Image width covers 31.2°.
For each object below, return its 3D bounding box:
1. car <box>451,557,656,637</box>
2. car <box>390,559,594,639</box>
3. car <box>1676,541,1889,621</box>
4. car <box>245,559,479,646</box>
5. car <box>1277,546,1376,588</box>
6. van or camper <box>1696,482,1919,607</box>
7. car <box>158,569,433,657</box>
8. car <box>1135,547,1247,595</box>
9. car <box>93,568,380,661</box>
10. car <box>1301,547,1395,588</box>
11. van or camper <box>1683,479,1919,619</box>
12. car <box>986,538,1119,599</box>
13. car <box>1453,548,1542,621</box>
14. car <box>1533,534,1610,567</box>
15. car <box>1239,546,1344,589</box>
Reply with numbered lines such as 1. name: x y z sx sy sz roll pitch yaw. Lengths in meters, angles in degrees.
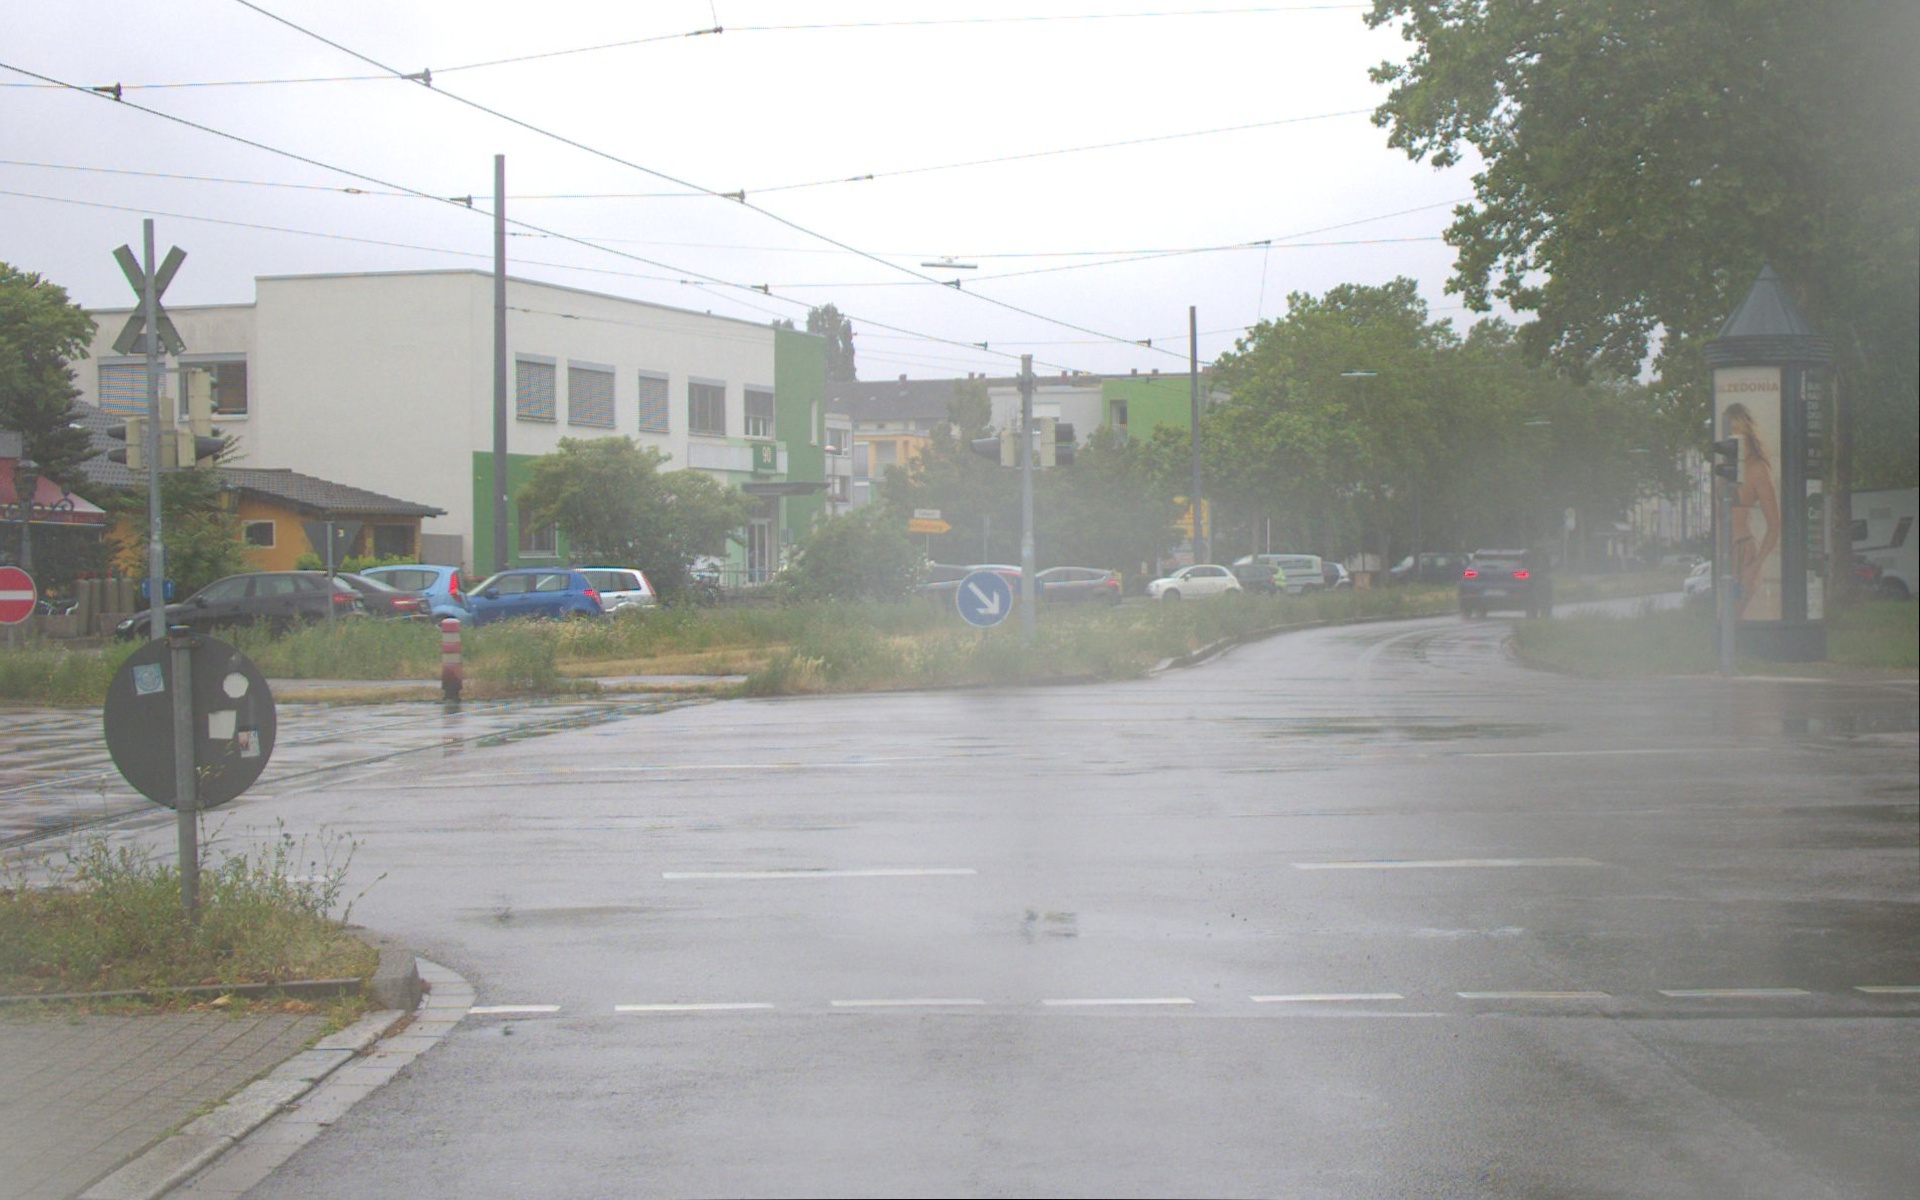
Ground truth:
1. car: -8.636 -0.083 72.924 4.107 1.635 1.930 -1 0 -14
2. car: -9.520 -0.035 69.771 3.986 1.576 1.930 -1 0 -11
3. car: 18.563 -0.438 77.573 4.449 1.711 1.998 1 1 21
4. car: -11.243 0.038 64.796 3.987 1.576 1.858 0 0 4
5. car: 16.387 -1.473 153.857 3.986 1.826 2.001 1 0 -11
6. van or camper: 23.241 -1.444 89.683 7.434 3.167 3.259 1 1 22
7. car: -11.838 0.217 61.409 4.497 1.413 1.858 -2 0 1
8. car: 8.520 -1.074 126.779 3.773 1.697 1.837 1 0 -10
9. car: -12.379 0.239 59.001 4.477 1.413 1.858 -2 0 1
10. car: 17.908 -1.503 158.927 3.986 1.826 2.000 1 0 -5
11. van or camper: 20.840 -1.175 80.515 7.328 3.167 3.259 1 1 18
12. car: 2.937 -1.006 110.008 3.986 1.881 2.000 1 0 -7
13. car: 12.977 -0.377 82.825 1.807 1.680 3.909 1 1 13
14. car: 35.330 -2.866 198.694 3.986 1.826 2.000 1 0 -5
15. car: 13.949 -1.381 144.893 3.986 1.752 2.011 1 0 -11
